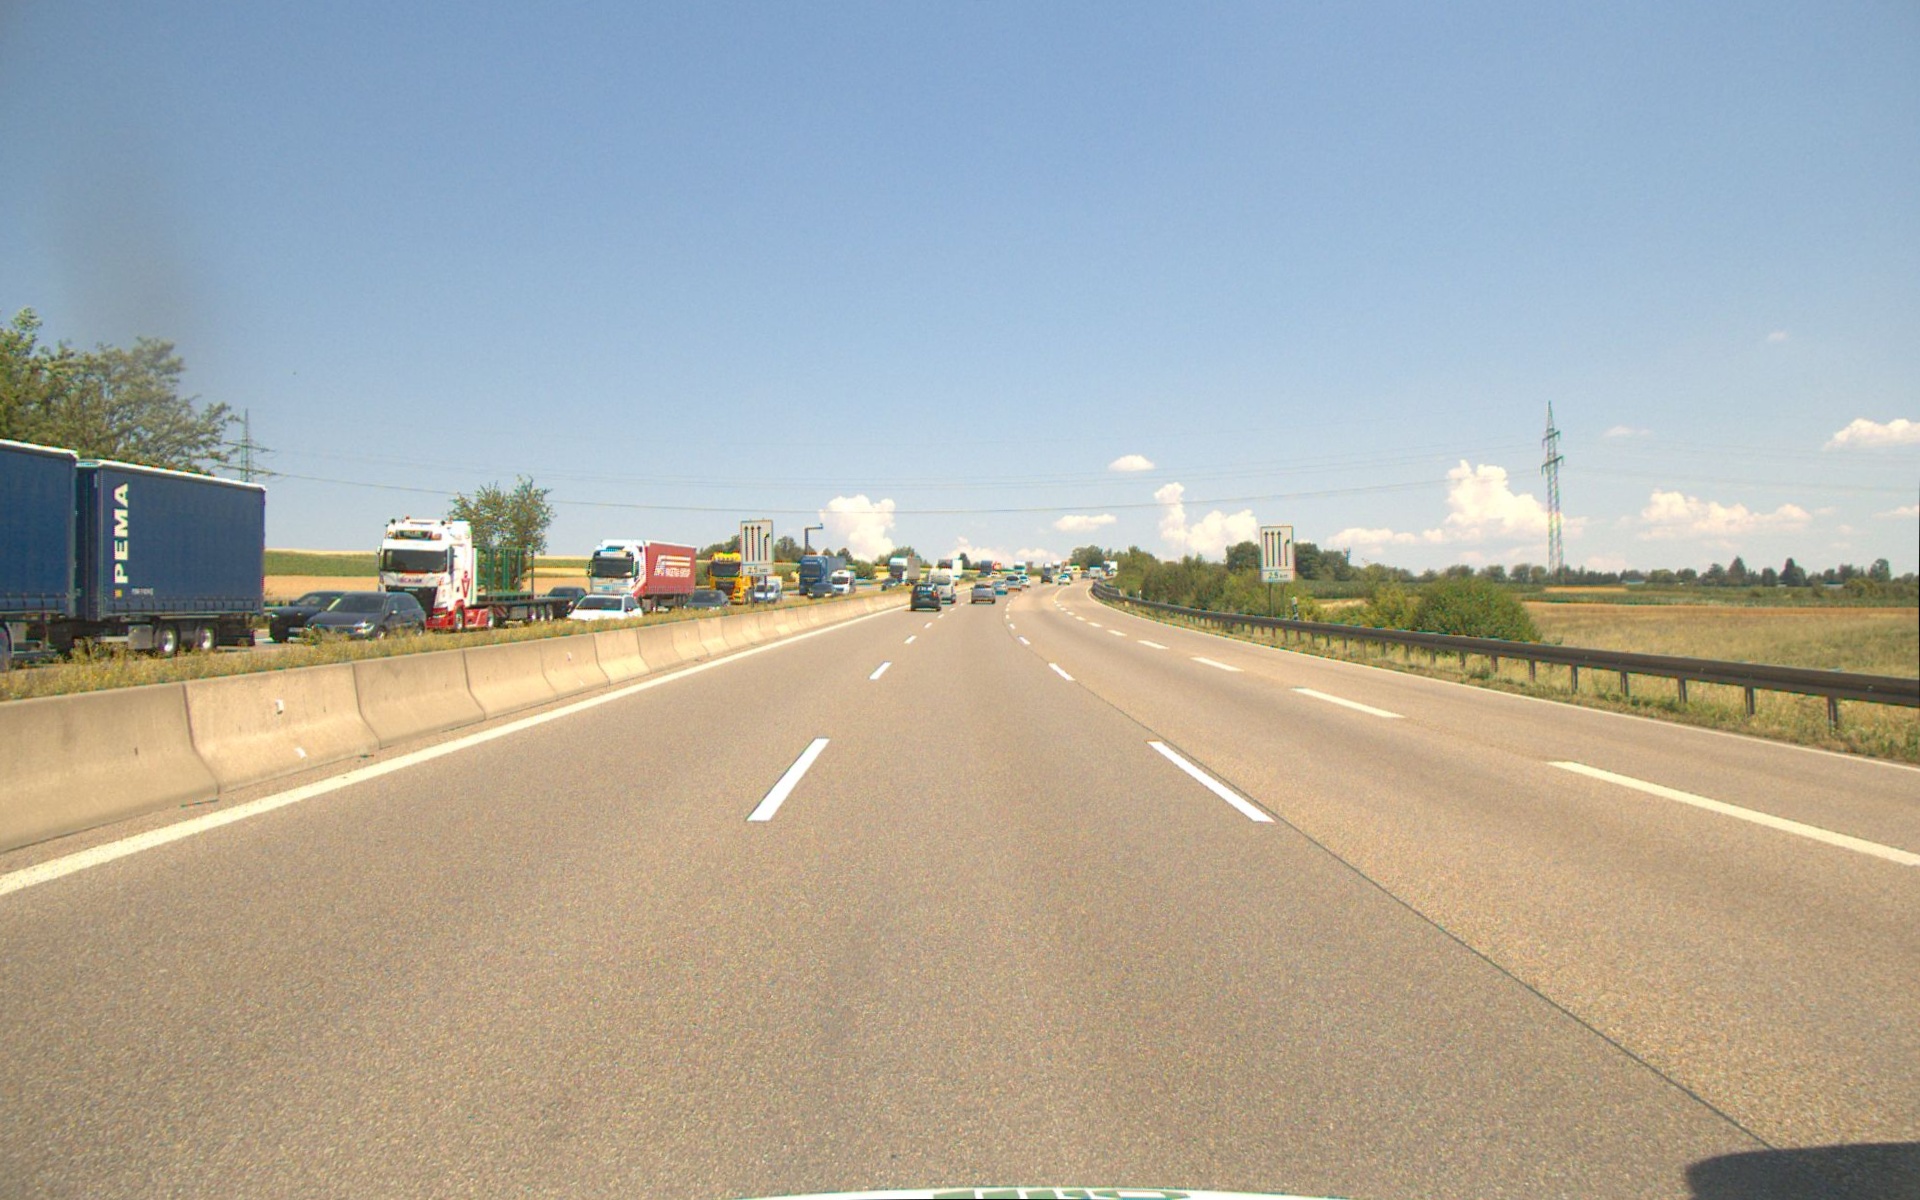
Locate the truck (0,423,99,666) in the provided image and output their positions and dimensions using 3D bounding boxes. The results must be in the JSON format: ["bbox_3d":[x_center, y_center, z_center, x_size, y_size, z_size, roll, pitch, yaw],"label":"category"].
[{"bbox_3d":[-18.515,-0.974,27.360,2.940,4.308,10.733,0,0,0],"label":"truck"}]

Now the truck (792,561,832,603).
[{"bbox_3d":[-15.086,-1.867,168.852,3.011,4.161,6.938,1,1,3],"label":"truck"}]

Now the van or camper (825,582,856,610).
[{"bbox_3d":[-11.461,-0.397,159.333,2.263,2.632,7.144,1,0,1],"label":"van or camper"}]

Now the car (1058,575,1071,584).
[{"bbox_3d":[16.494,-3.208,261.046,1.861,1.467,4.003,0,1,6],"label":"car"}]

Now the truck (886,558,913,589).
[{"bbox_3d":[-8.821,-3.880,241.905,3.066,4.403,6.151,1,1,5],"label":"truck"}]

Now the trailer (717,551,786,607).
[{"bbox_3d":[-16.625,-1.719,132.784,2.891,4.172,14.388,1,1,3],"label":"trailer"}]

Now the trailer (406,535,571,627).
[{"bbox_3d":[-18.379,-0.723,65.628,2.799,3.262,12.784,1,0,0],"label":"trailer"}]

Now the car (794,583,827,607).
[{"bbox_3d":[-11.102,-0.413,123.117,2.007,1.725,5.255,1,0,0],"label":"car"}]

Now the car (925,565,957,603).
[{"bbox_3d":[-1.395,-1.172,125.459,2.134,2.671,4.673,1,-2,3],"label":"car"}]

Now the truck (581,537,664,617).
[{"bbox_3d":[-18.136,-1.225,89.265,2.972,4.153,6.316,1,1,1],"label":"truck"}]

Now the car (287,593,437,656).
[{"bbox_3d":[-14.921,0.566,41.584,1.953,1.481,5.169,0,0,-1],"label":"car"}]

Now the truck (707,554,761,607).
[{"bbox_3d":[-17.075,-1.499,125.345,2.693,3.904,7.101,1,1,3],"label":"truck"}]

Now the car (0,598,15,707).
[{"bbox_3d":[-14.656,0.737,21.579,1.953,1.554,4.772,1,0,-1],"label":"car"}]

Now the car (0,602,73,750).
[{"bbox_3d":[-11.151,0.804,16.593,1.953,1.554,4.772,1,0,-1],"label":"car"}]

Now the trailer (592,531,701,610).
[{"bbox_3d":[-17.890,-1.656,95.755,3.021,4.172,14.386,1,1,2],"label":"trailer"}]

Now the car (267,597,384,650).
[{"bbox_3d":[-18.210,0.638,47.710,1.622,1.456,4.648,0,0,-1],"label":"car"}]

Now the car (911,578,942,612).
[{"bbox_3d":[-1.962,-0.332,98.615,1.810,1.893,4.205,0,2,-1],"label":"car"}]

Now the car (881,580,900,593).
[{"bbox_3d":[-8.407,-1.646,200.434,1.873,1.568,5.744,1,1,2],"label":"car"}]

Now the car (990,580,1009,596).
[{"bbox_3d":[4.213,-1.305,176.815,1.952,1.613,4.001,0,-1,1],"label":"car"}]

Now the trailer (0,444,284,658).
[{"bbox_3d":[-18.469,-1.004,37.208,2.924,4.266,8.595,0,0,0],"label":"trailer"}]

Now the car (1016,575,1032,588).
[{"bbox_3d":[8.776,-2.517,226.528,1.952,1.579,4.003,2,2,4],"label":"car"}]

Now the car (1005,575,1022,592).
[{"bbox_3d":[6.333,-1.960,196.130,1.953,1.937,3.999,0,-2,0],"label":"car"}]

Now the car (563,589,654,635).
[{"bbox_3d":[-10.976,0.420,51.975,1.800,1.307,4.873,1,-2,0],"label":"car"}]

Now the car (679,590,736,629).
[{"bbox_3d":[-11.067,0.392,72.749,1.800,1.611,4.554,1,1,0],"label":"car"}]

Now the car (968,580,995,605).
[{"bbox_3d":[1.621,-0.534,126.638,1.953,1.781,3.999,1,-2,0],"label":"car"}]

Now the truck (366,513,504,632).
[{"bbox_3d":[-18.436,-0.932,58.464,2.841,3.944,6.178,1,0,0],"label":"truck"}]

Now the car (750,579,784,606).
[{"bbox_3d":[-13.665,-0.532,117.462,1.874,1.803,4.762,1,0,0],"label":"car"}]
